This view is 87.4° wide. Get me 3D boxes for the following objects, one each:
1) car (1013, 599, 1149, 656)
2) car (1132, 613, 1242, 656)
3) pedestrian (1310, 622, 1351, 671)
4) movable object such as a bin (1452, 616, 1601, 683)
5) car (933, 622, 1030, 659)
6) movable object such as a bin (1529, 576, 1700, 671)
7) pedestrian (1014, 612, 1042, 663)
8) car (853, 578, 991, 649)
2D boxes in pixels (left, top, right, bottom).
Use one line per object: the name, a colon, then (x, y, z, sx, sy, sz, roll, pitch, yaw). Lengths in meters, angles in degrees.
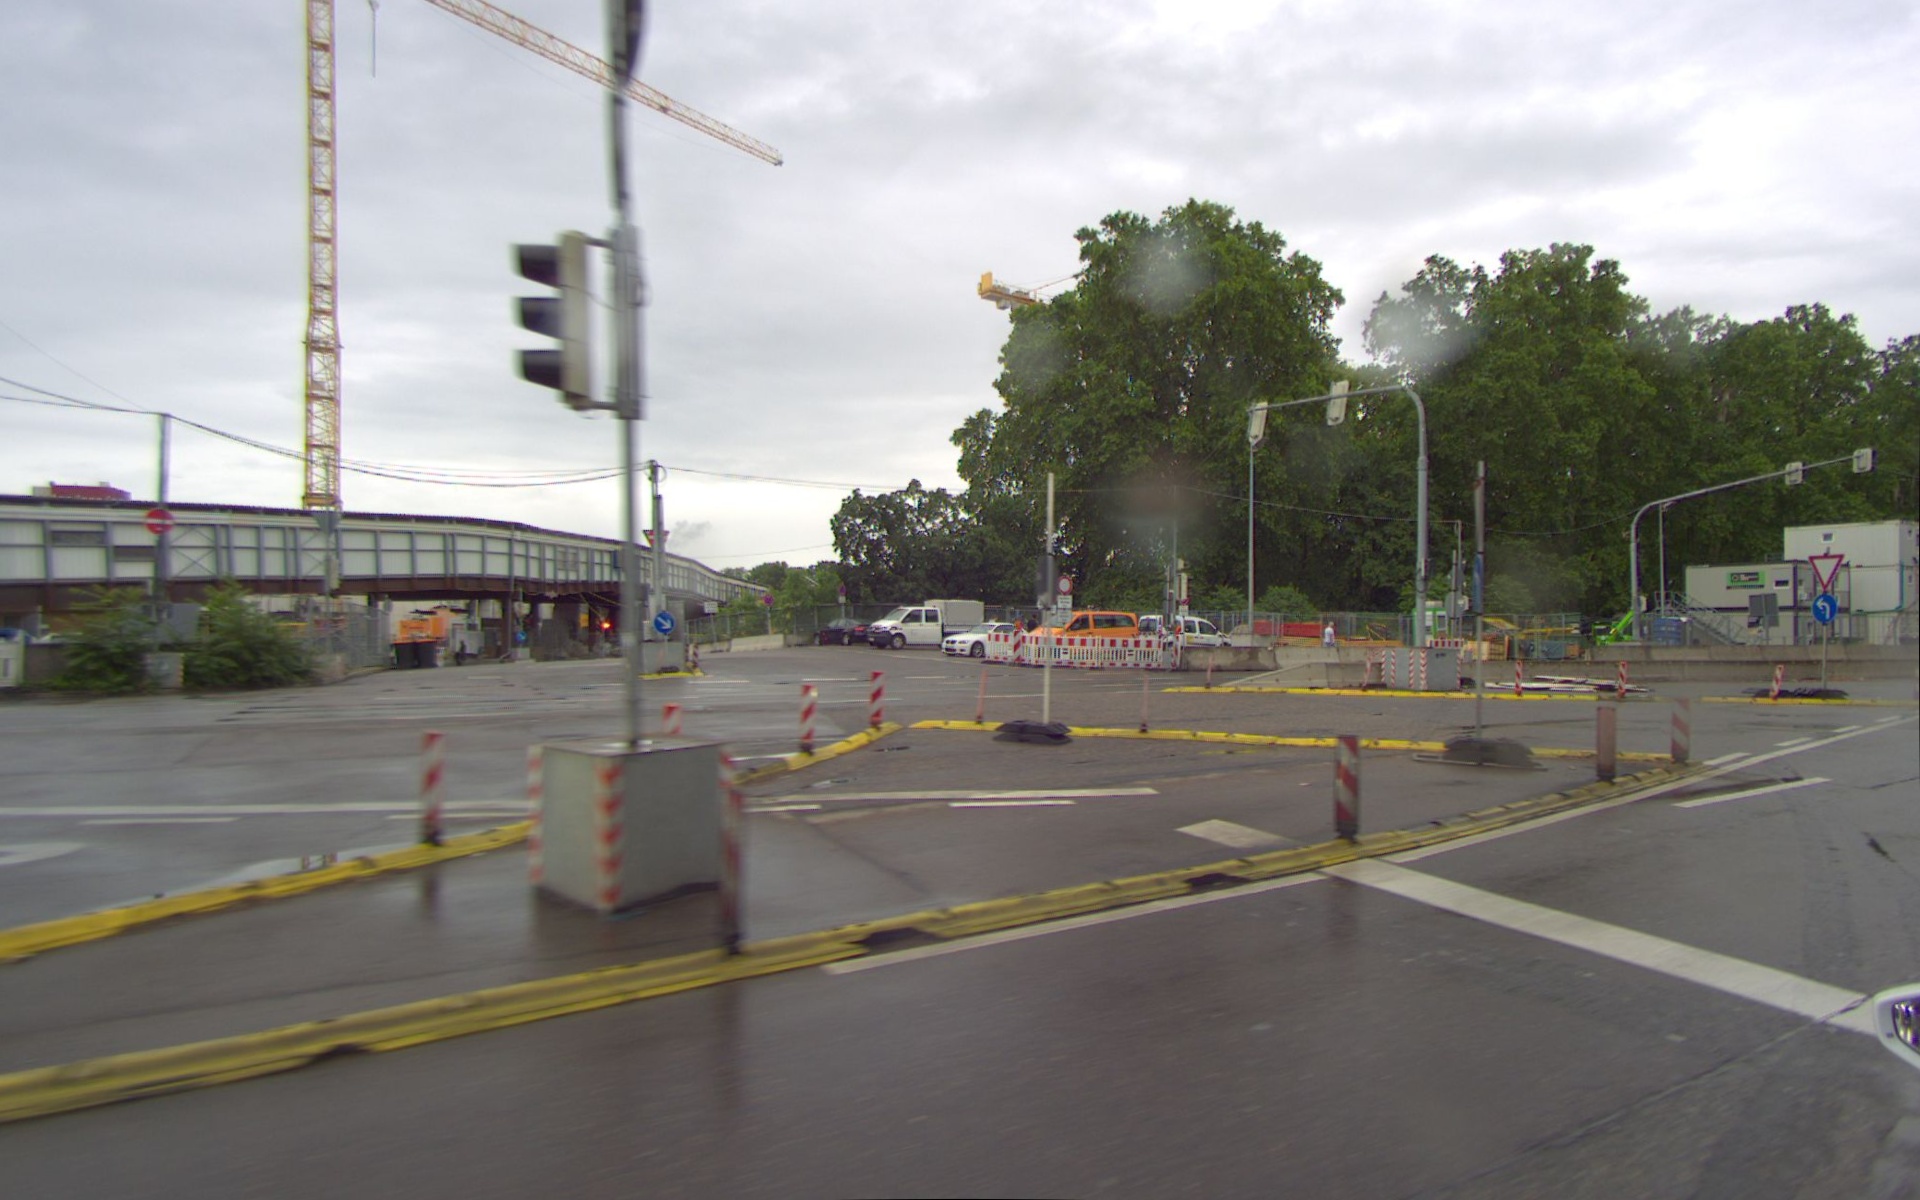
car: (4.926, 1.180, 40.533, 5.523, 2.128, 1.982, 2, -4, -33)
car: (9.895, 1.526, 43.645, 4.741, 1.784, 1.836, 2, -2, -30)
pedestrian: (15.665, 1.948, 42.495, 1.161, 2.040, 1.173, 1, -1, -33)
movable object such as a bin: (28.708, 2.485, 50.907, 6.312, 3.169, 3.915, 2, -2, -30)
car: (0.918, 1.662, 41.063, 3.805, 1.433, 1.742, 3, -3, -42)
movable object such as a bin: (36.281, 1.383, 55.682, 8.260, 4.866, 4.729, 2, -2, -30)
pedestrian: (2.772, 1.518, 40.957, 0.731, 2.040, 0.914, 1, -2, -35)
car: (-1.701, 0.702, 46.621, 6.099, 3.106, 2.262, 2, -2, -31)
